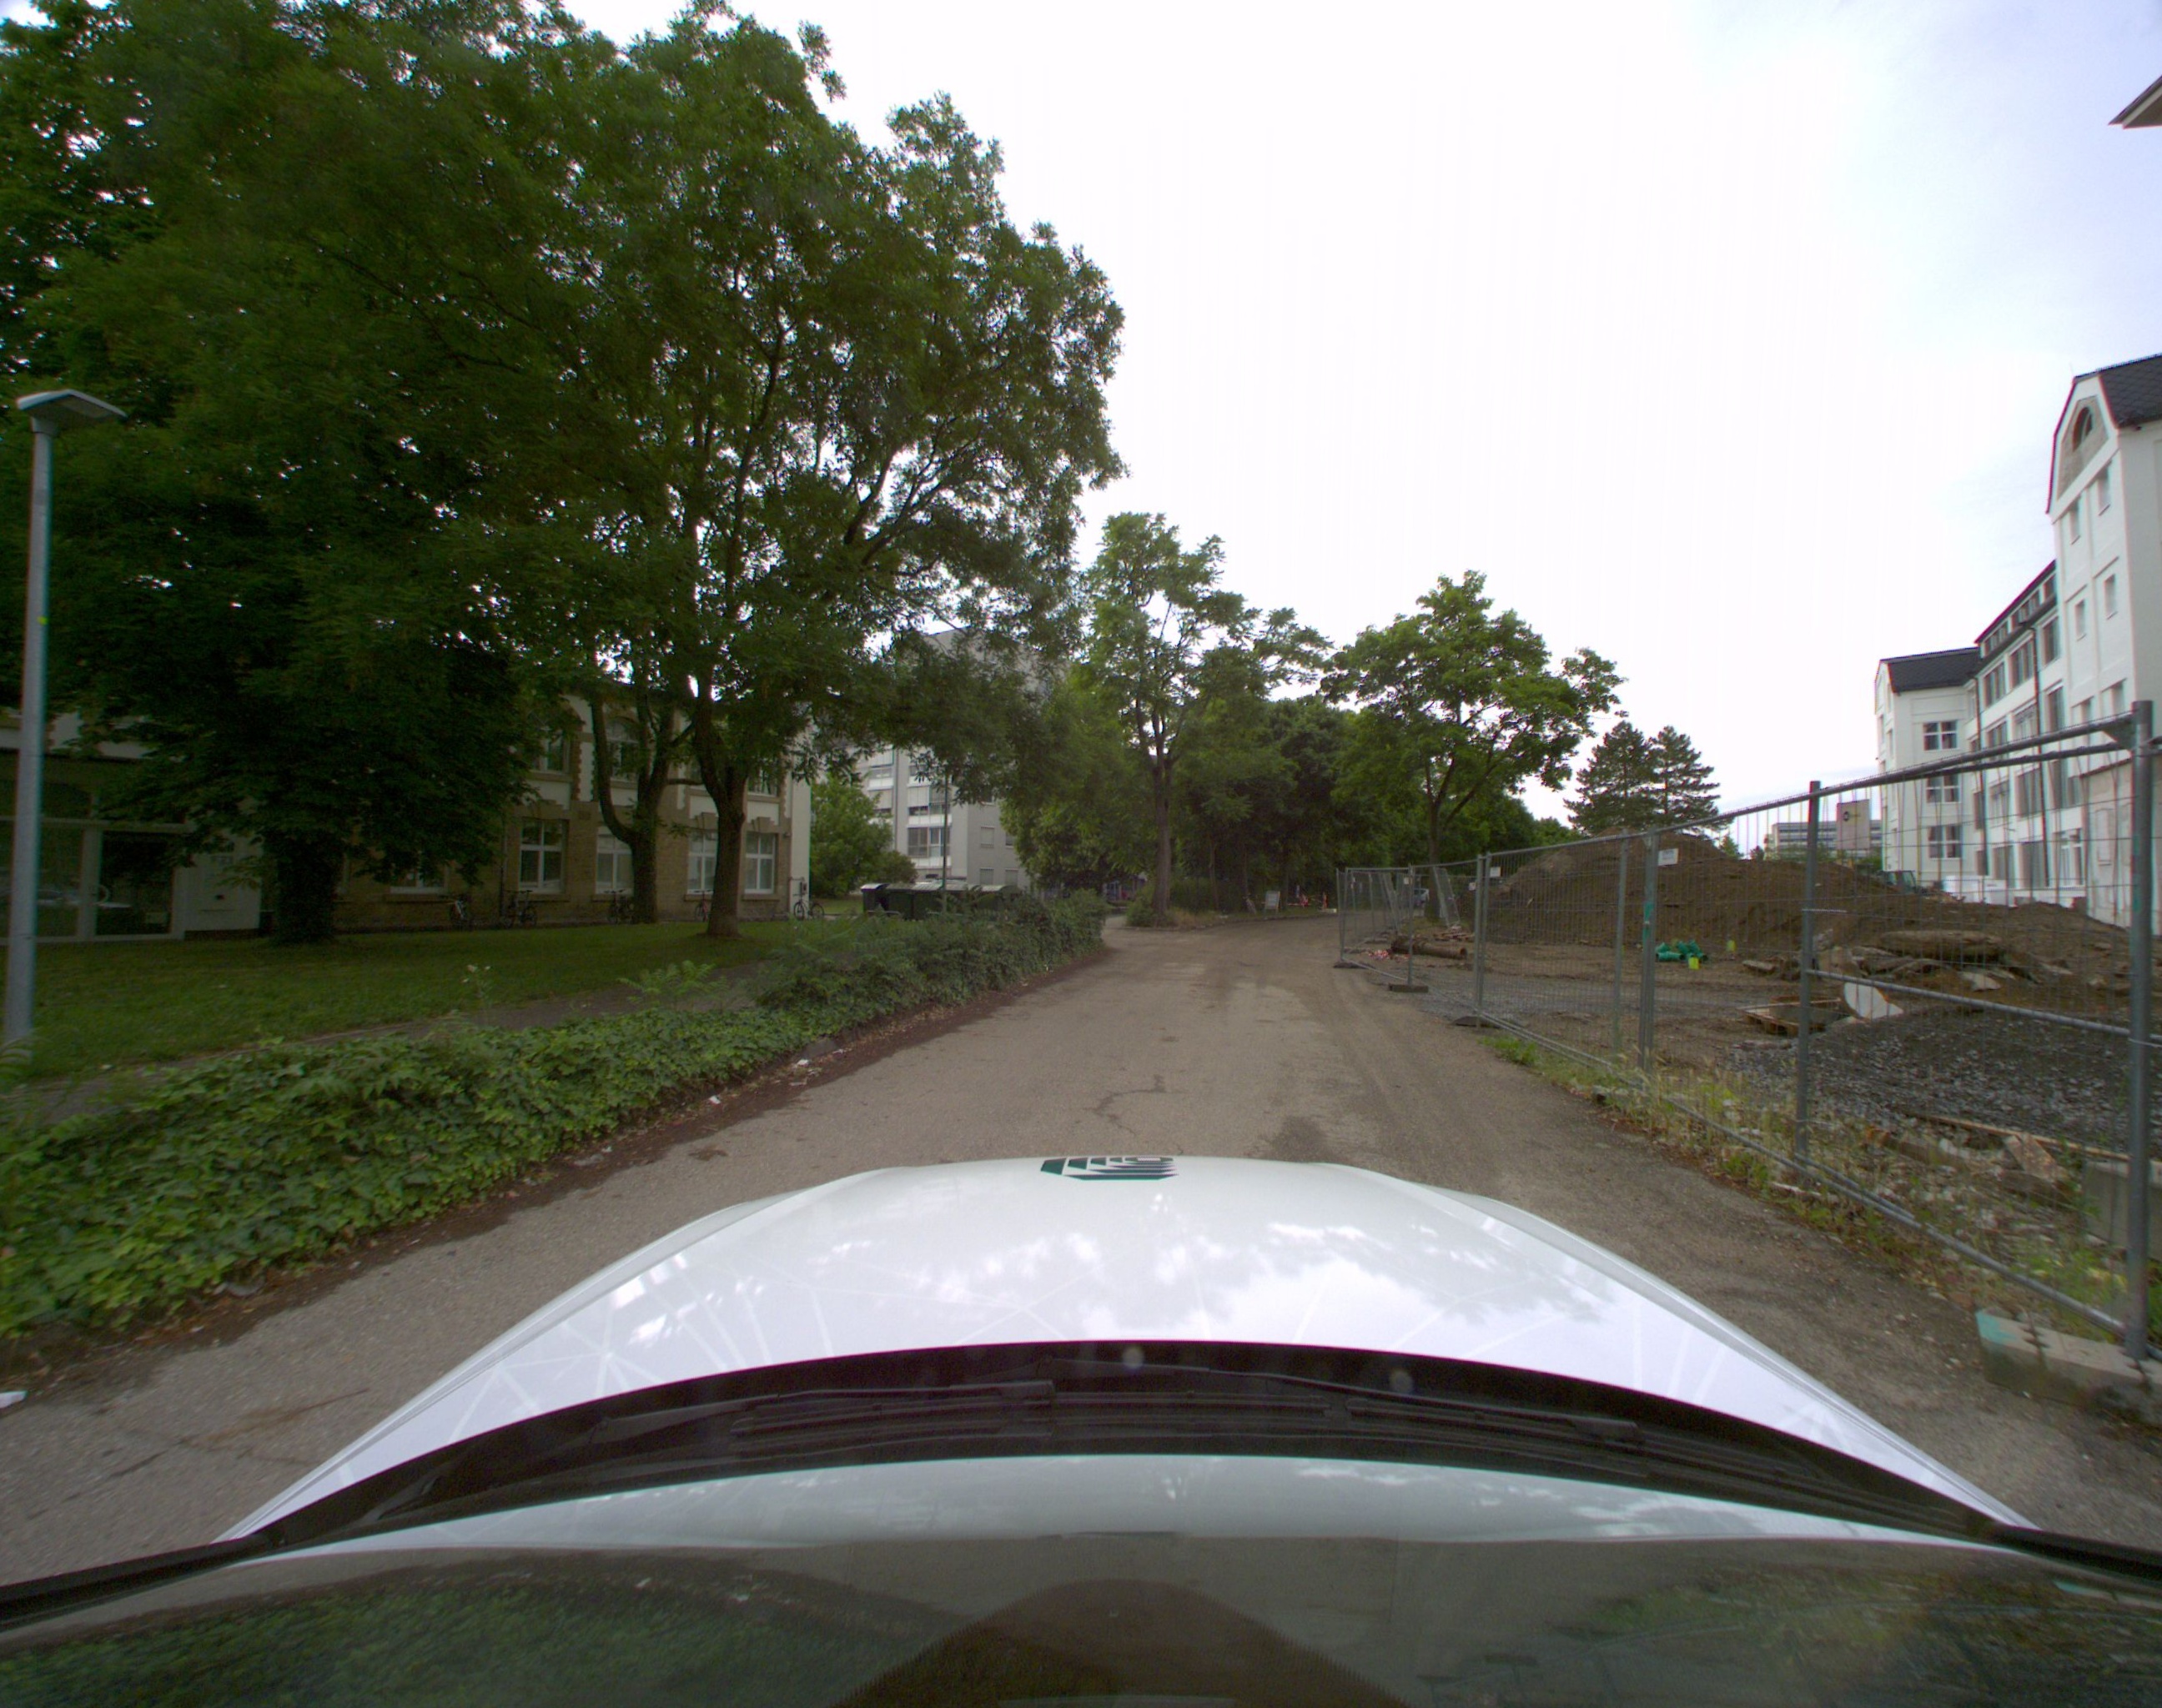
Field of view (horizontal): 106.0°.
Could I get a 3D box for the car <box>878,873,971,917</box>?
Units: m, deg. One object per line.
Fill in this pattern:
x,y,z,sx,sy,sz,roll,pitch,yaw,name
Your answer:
-7.442,1.985,39.116,1.830,2.014,4.378,-2,-4,33,car

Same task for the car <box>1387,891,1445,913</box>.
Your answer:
25.407,3.626,61.868,3.664,1.501,1.879,-1,-3,41,car

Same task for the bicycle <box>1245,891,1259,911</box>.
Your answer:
7.879,2.146,37.543,0.415,0.906,1.159,0,-2,21,bicycle

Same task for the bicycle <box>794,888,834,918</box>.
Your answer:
-9.931,1.823,30.301,1.805,1.066,0.398,-1,-3,36,bicycle

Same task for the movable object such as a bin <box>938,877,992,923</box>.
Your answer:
-3.760,1.478,26.446,1.336,1.456,1.062,-2,-4,32,movable object such as a bin

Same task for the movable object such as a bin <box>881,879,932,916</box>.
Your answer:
-6.066,1.493,28.266,1.337,1.265,1.062,-1,-3,29,movable object such as a bin

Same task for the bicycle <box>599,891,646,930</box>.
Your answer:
-14.071,1.708,24.956,2.193,1.120,0.622,-2,-3,44,bicycle

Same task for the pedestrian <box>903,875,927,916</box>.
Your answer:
-7.372,1.847,36.168,0.689,1.809,0.761,-3,-4,34,pedestrian

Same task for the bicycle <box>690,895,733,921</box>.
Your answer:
-12.378,1.786,27.238,1.920,0.814,0.622,-2,-3,44,bicycle

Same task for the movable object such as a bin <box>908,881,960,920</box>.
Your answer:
-4.937,1.550,27.311,1.336,1.265,1.062,-1,-3,32,movable object such as a bin

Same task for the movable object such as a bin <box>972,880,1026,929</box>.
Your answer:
-2.586,1.580,25.569,1.061,1.450,1.338,3,-2,-44,movable object such as a bin

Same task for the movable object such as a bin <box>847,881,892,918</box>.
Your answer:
-7.486,1.580,28.858,1.061,1.265,1.338,2,-3,-40,movable object such as a bin

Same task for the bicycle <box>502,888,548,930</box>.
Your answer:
-15.624,1.525,22.868,2.193,1.120,0.622,-2,-3,44,bicycle

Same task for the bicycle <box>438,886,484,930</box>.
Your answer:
-16.666,1.426,21.879,2.193,1.120,0.622,-2,-3,44,bicycle
